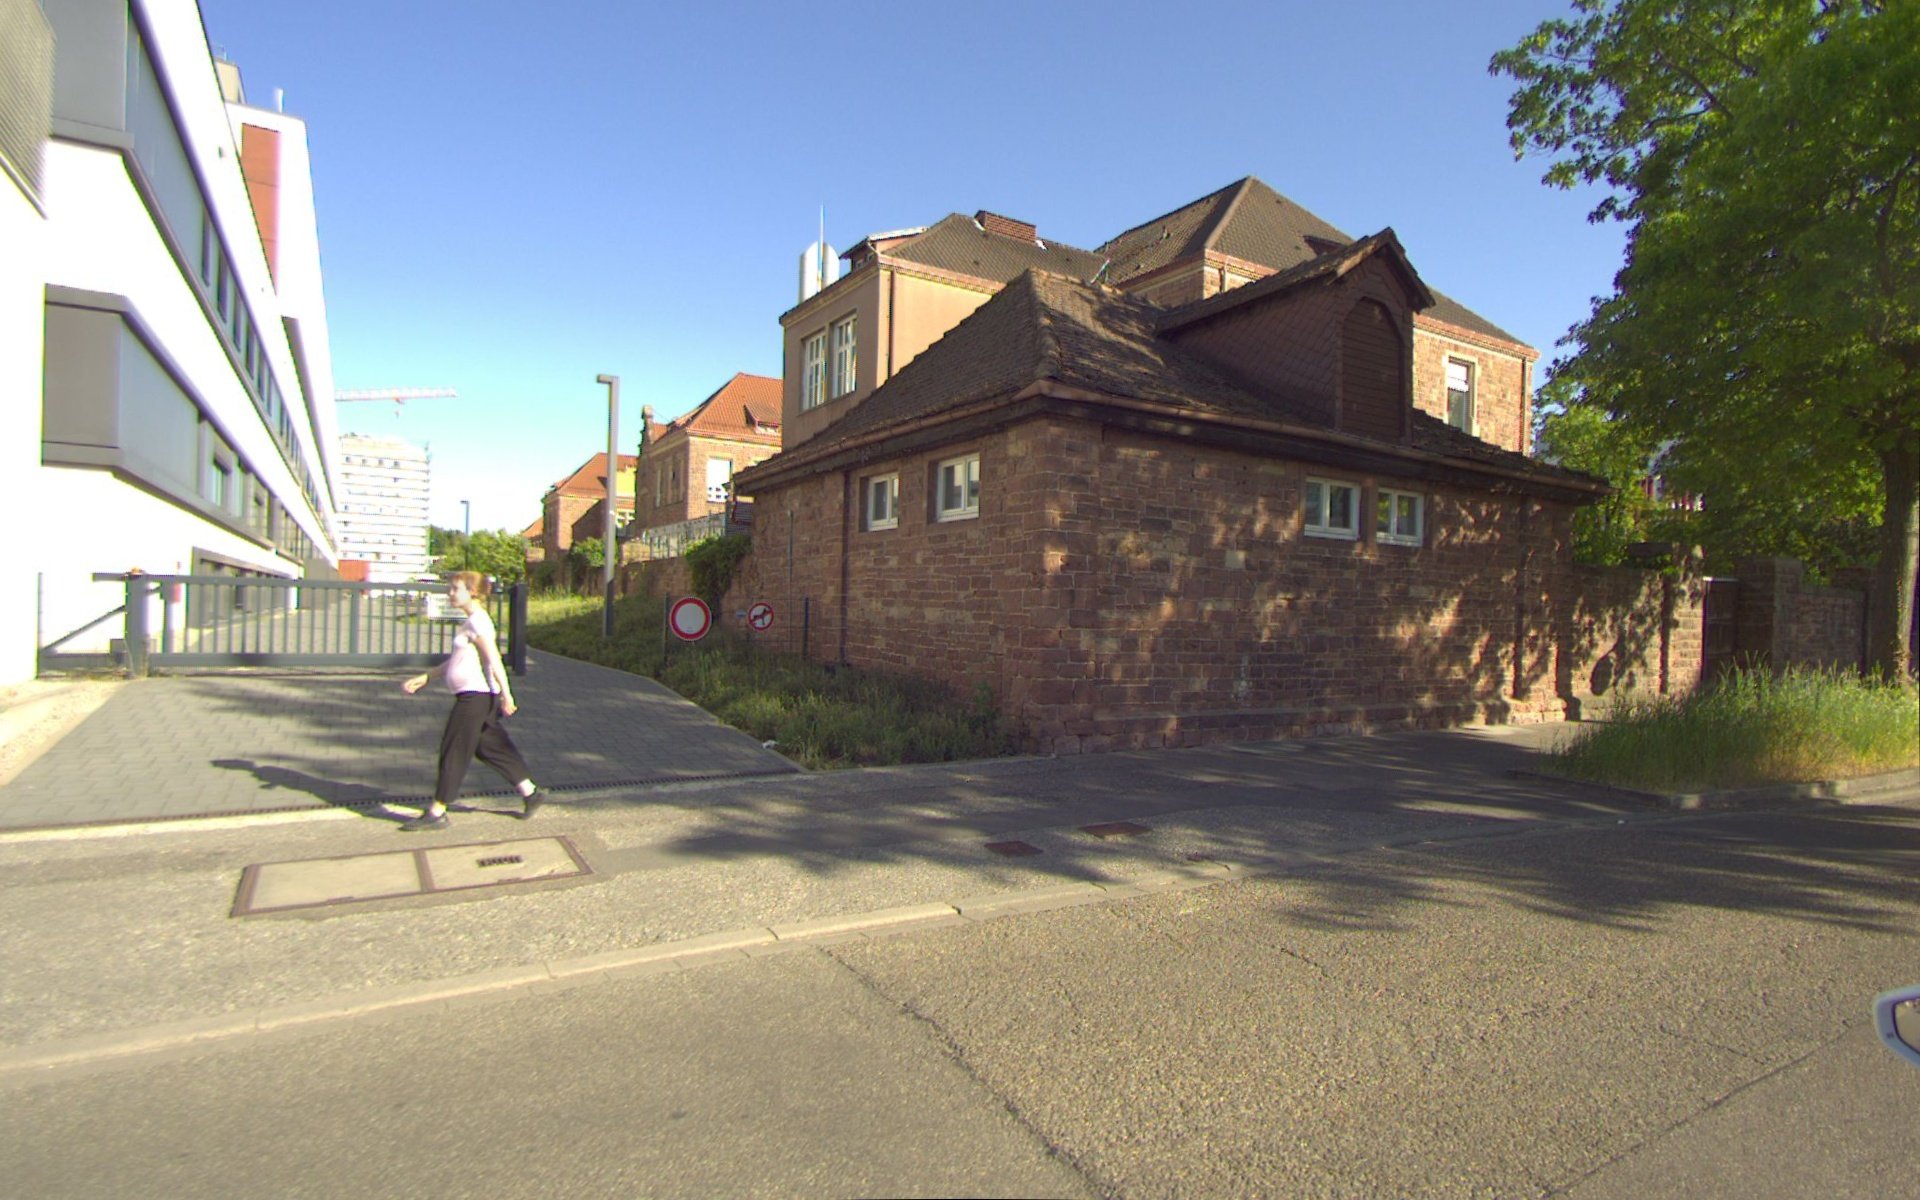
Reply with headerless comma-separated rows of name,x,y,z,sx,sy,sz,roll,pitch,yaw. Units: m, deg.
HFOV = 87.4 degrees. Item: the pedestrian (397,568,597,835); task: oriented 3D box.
pedestrian,-2.969,0.612,6.460,1.084,1.583,0.518,1,0,-33
